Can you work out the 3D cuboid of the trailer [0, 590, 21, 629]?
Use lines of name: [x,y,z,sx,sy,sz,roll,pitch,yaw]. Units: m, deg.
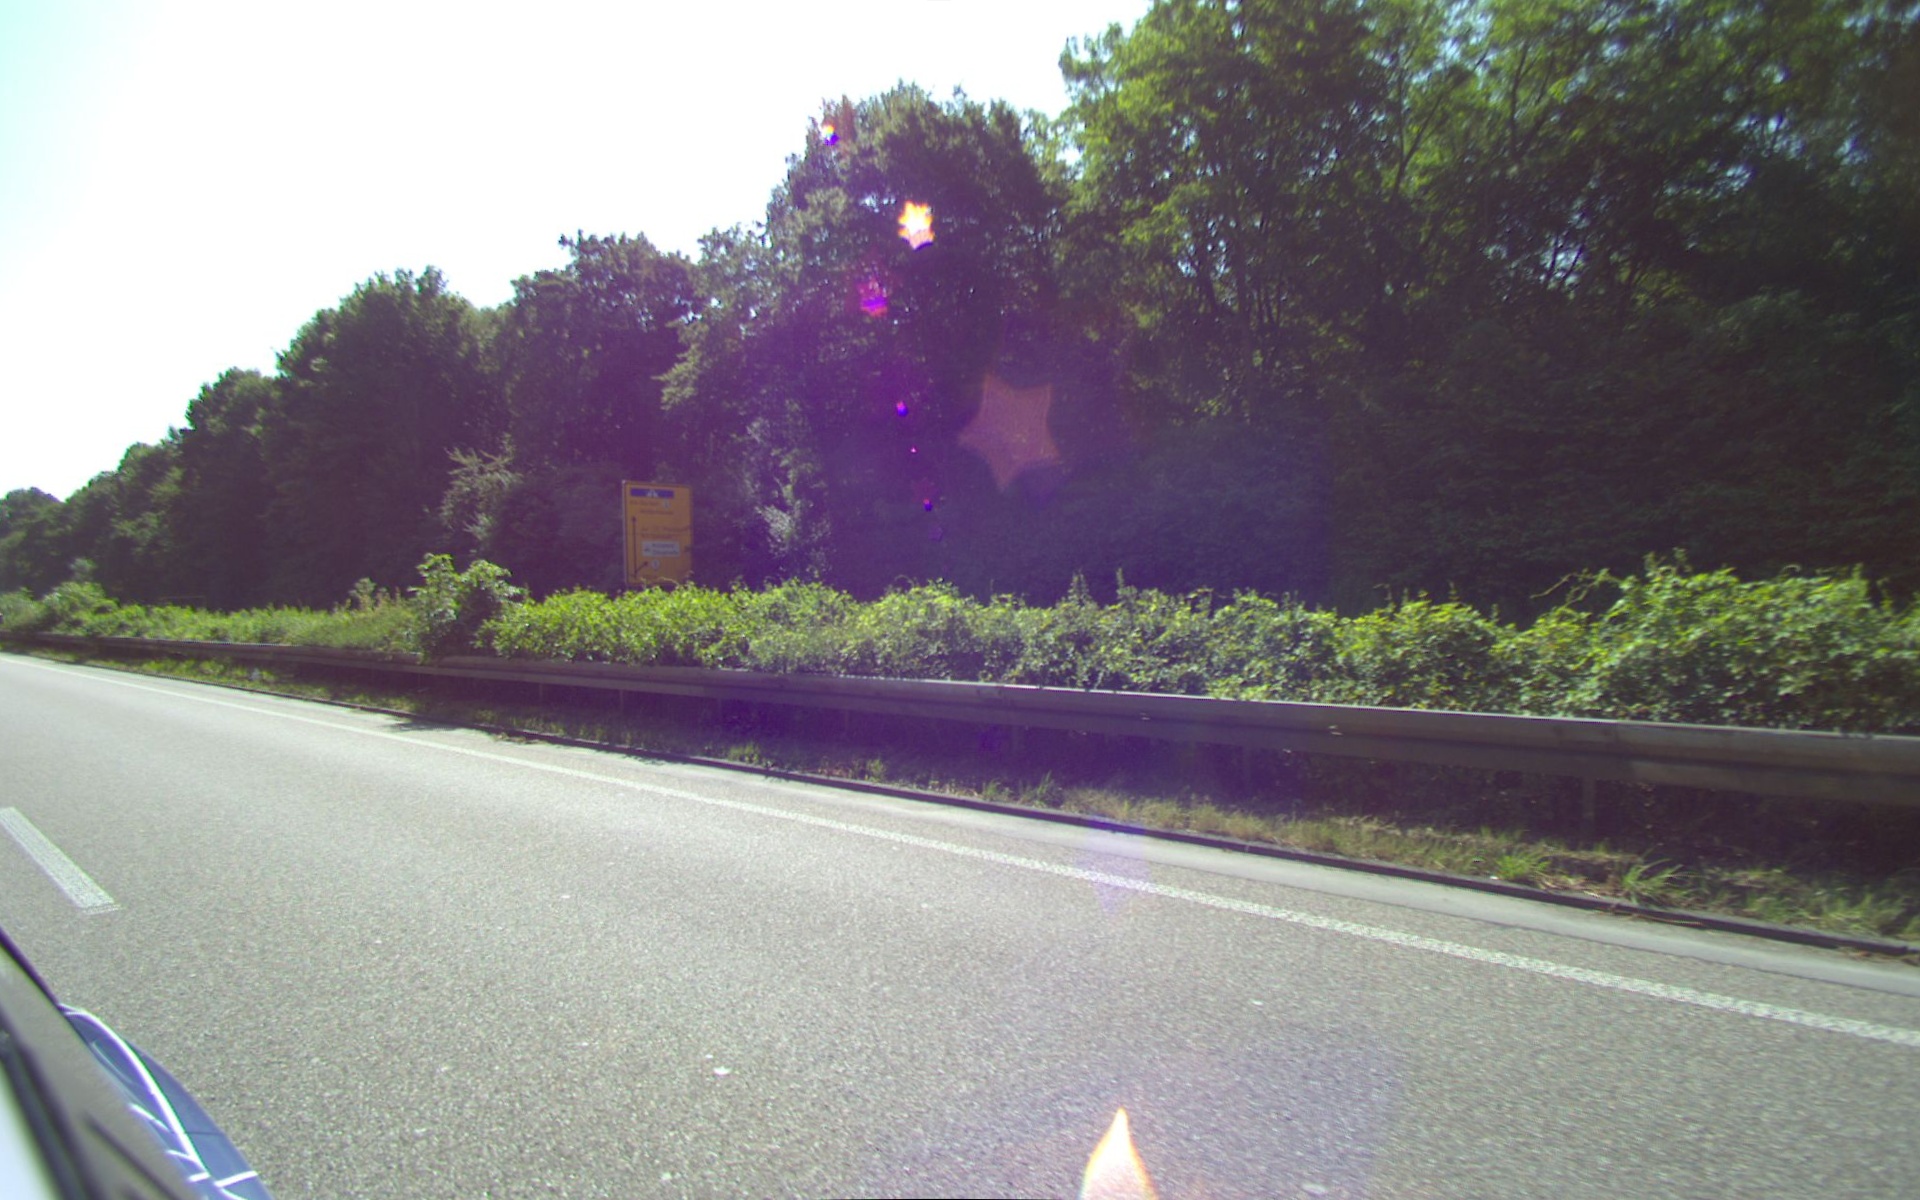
trailer: [-110.044,1.112,115.445,13.657,4.332,2.799,-1,0,41]
